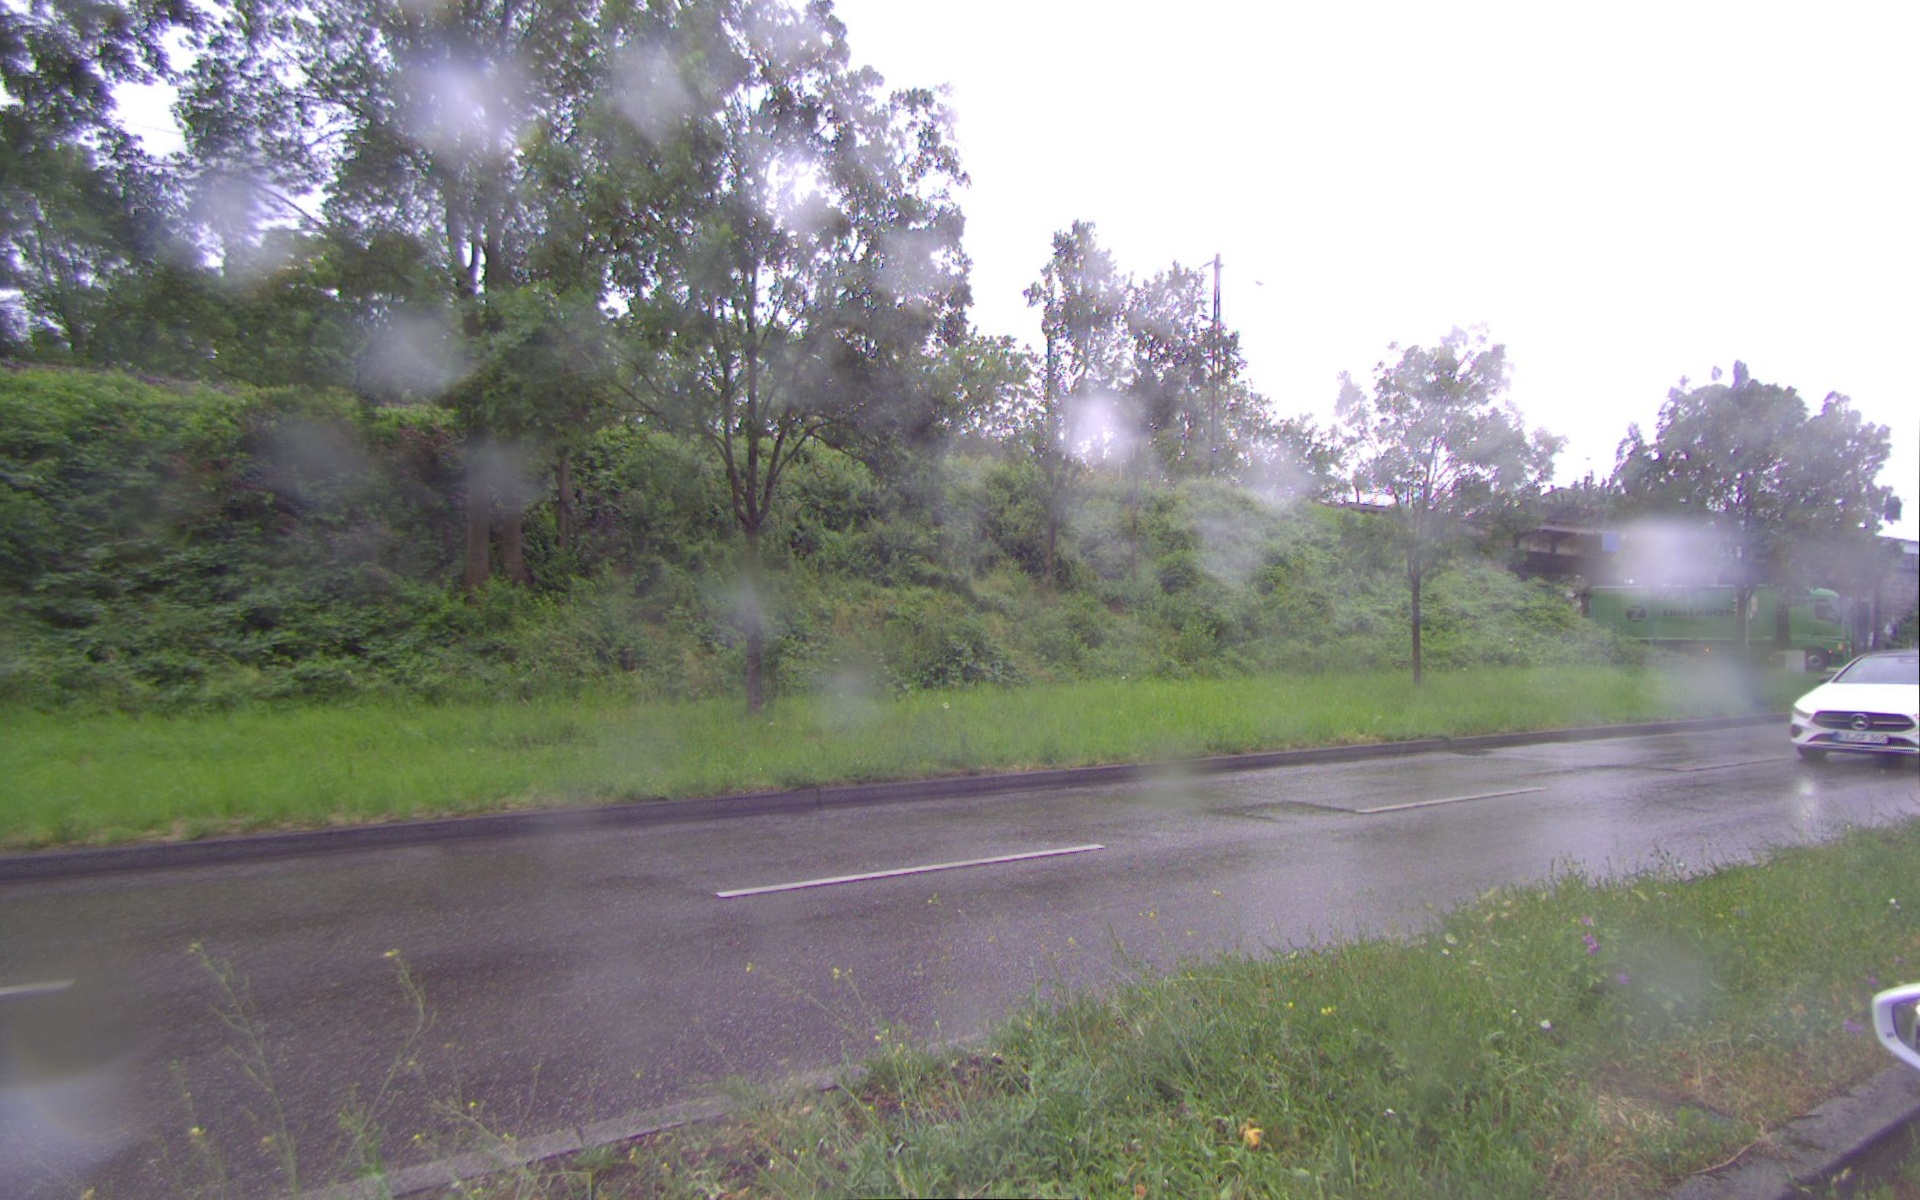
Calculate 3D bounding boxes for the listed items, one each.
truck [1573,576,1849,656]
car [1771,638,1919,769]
[{"bbox_3d":[34.188,0.687,46.313,9.872,3.416,2.346,0,-1,25],"label":"truck"},{"bbox_3d":[12.721,1.320,13.338,4.001,1.539,1.726,2,-4,-31],"label":"car"}]
